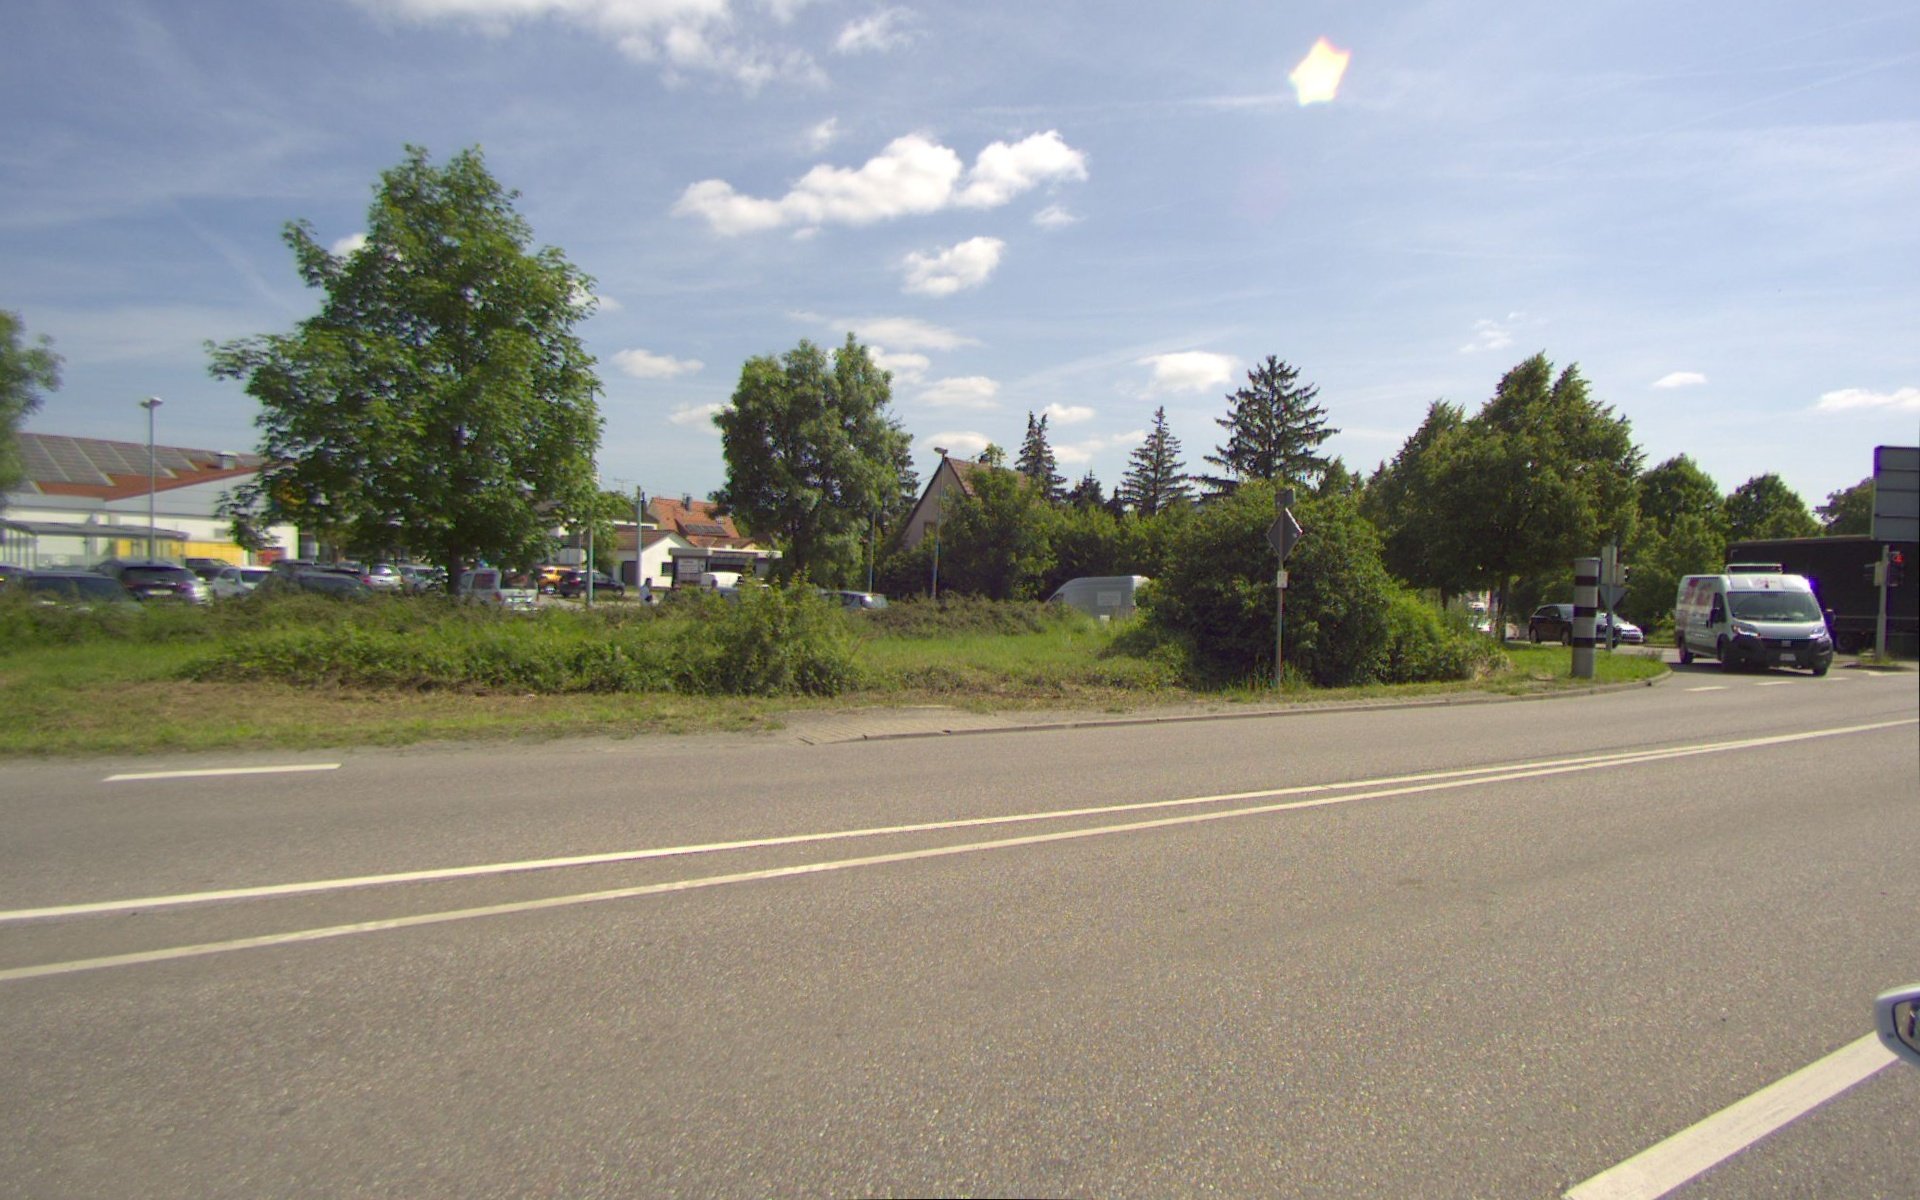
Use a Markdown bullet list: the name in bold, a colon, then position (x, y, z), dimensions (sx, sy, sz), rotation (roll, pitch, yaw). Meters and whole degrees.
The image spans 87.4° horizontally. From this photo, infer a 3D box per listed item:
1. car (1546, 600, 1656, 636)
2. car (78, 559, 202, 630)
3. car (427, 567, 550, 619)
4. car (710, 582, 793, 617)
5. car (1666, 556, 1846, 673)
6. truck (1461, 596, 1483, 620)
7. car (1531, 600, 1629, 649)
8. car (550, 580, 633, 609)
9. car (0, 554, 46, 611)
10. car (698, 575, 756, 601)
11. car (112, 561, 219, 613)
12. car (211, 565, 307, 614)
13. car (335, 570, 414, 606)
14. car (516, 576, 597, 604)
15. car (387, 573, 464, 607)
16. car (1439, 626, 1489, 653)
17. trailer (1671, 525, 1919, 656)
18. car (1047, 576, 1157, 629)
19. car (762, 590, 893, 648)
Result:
- **car**: position (29.185, 0.789, 45.883), dimensions (1.778, 1.480, 4.251), rotation (0, 1, -11)
- **car**: position (-22.196, -0.184, 27.148), dimensions (3.939, 1.697, 1.903), rotation (3, 2, 40)
- **car**: position (-16.675, -0.248, 35.454), dimensions (4.354, 1.717, 1.994), rotation (1, 0, 34)
- **car**: position (-10.873, -0.021, 52.561), dimensions (1.883, 1.662, 3.984), rotation (2, 0, 38)
- **car**: position (20.504, 0.353, 26.239), dimensions (2.083, 2.690, 5.983), rotation (1, 0, 22)
- **truck**: position (86.315, 1.380, 169.220), dimensions (2.894, 3.848, 7.913), rotation (1, 0, 29)
- **car**: position (24.252, 0.937, 39.460), dimensions (1.834, 1.773, 4.113), rotation (2, 0, 10)
- **car**: position (-21.811, -0.292, 59.558), dimensions (1.850, 1.562, 4.242), rotation (2, 0, 37)
- **car**: position (-27.842, -0.537, 28.782), dimensions (3.936, 1.549, 1.772), rotation (2, 0, 38)
- **car**: position (-17.375, -0.863, 74.980), dimensions (1.866, 1.782, 3.987), rotation (2, 0, 35)
- **car**: position (-25.597, -0.444, 32.344), dimensions (3.936, 1.549, 1.772), rotation (2, 0, 38)
- **car**: position (-23.874, -0.377, 34.151), dimensions (3.941, 1.549, 1.770), rotation (2, 0, 41)
- **car**: position (-27.598, -0.566, 47.288), dimensions (4.194, 1.562, 1.871), rotation (2, 0, 40)
- **car**: position (-24.384, -0.583, 60.824), dimensions (1.850, 1.562, 4.242), rotation (2, 0, 37)
- **car**: position (-26.312, -0.494, 49.426), dimensions (4.194, 1.562, 1.871), rotation (2, 0, 40)
- **car**: position (30.573, 2.349, 61.083), dimensions (1.759, 1.436, 4.050), rotation (0, 1, 12)
- **trailer**: position (31.077, -0.317, 33.561), dimensions (2.749, 4.116, 13.696), rotation (0, 1, -12)
- **car**: position (6.391, 0.065, 45.503), dimensions (4.525, 2.209, 1.992), rotation (2, 1, 37)
- **car**: position (-4.446, 0.602, 33.712), dimensions (3.928, 1.751, 1.997), rotation (2, 0, 30)
